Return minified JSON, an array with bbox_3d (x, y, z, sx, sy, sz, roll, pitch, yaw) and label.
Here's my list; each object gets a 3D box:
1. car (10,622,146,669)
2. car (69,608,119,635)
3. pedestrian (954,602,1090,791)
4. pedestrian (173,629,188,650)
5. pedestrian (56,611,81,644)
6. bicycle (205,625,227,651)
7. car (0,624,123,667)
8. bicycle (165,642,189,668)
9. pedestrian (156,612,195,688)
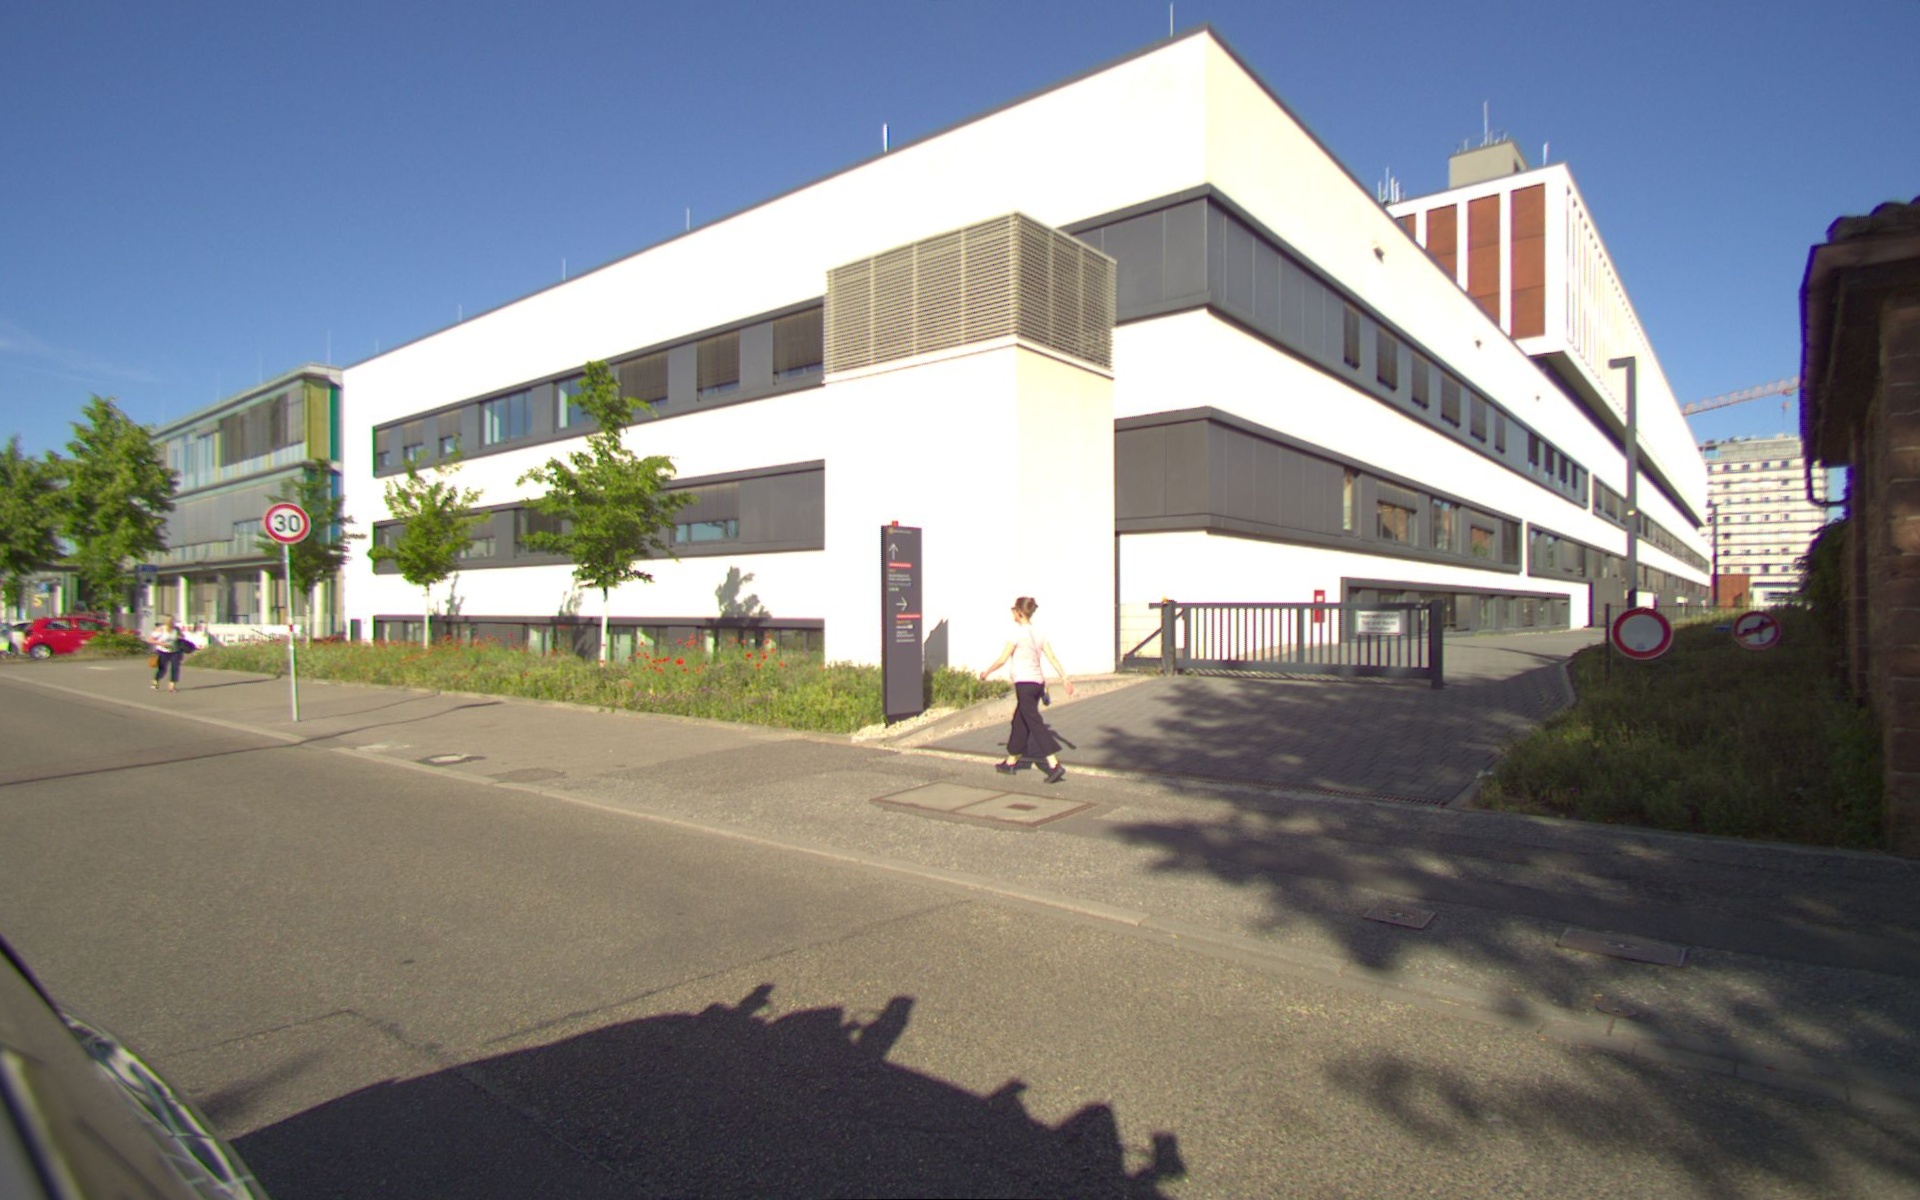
[{"bbox_3d":[-31.580,1.593,36.296,3.592,1.480,1.615,-2,0,-44],"label":"car"},{"bbox_3d":[-61.906,1.541,72.309,4.706,1.905,1.900,-2,-2,39],"label":"car"},{"bbox_3d":[0.539,0.817,8.990,1.094,1.574,0.516,-1,-1,39],"label":"pedestrian"},{"bbox_3d":[-43.235,2.193,56.133,0.555,1.182,0.526,-2,-1,40],"label":"pedestrian"},{"bbox_3d":[-42.789,1.307,48.575,0.779,1.560,0.765,-1,1,40],"label":"pedestrian"},{"bbox_3d":[-33.172,1.679,45.108,1.762,1.132,0.416,-2,-2,41],"label":"bicycle"},{"bbox_3d":[-33.807,1.674,37.190,1.699,1.377,4.464,-1,1,42],"label":"car"},{"bbox_3d":[-35.568,2.474,45.953,1.860,1.120,0.529,-2,-2,42],"label":"bicycle"},{"bbox_3d":[-16.245,1.031,20.951,0.607,1.535,0.532,-1,-1,41],"label":"pedestrian"}]
